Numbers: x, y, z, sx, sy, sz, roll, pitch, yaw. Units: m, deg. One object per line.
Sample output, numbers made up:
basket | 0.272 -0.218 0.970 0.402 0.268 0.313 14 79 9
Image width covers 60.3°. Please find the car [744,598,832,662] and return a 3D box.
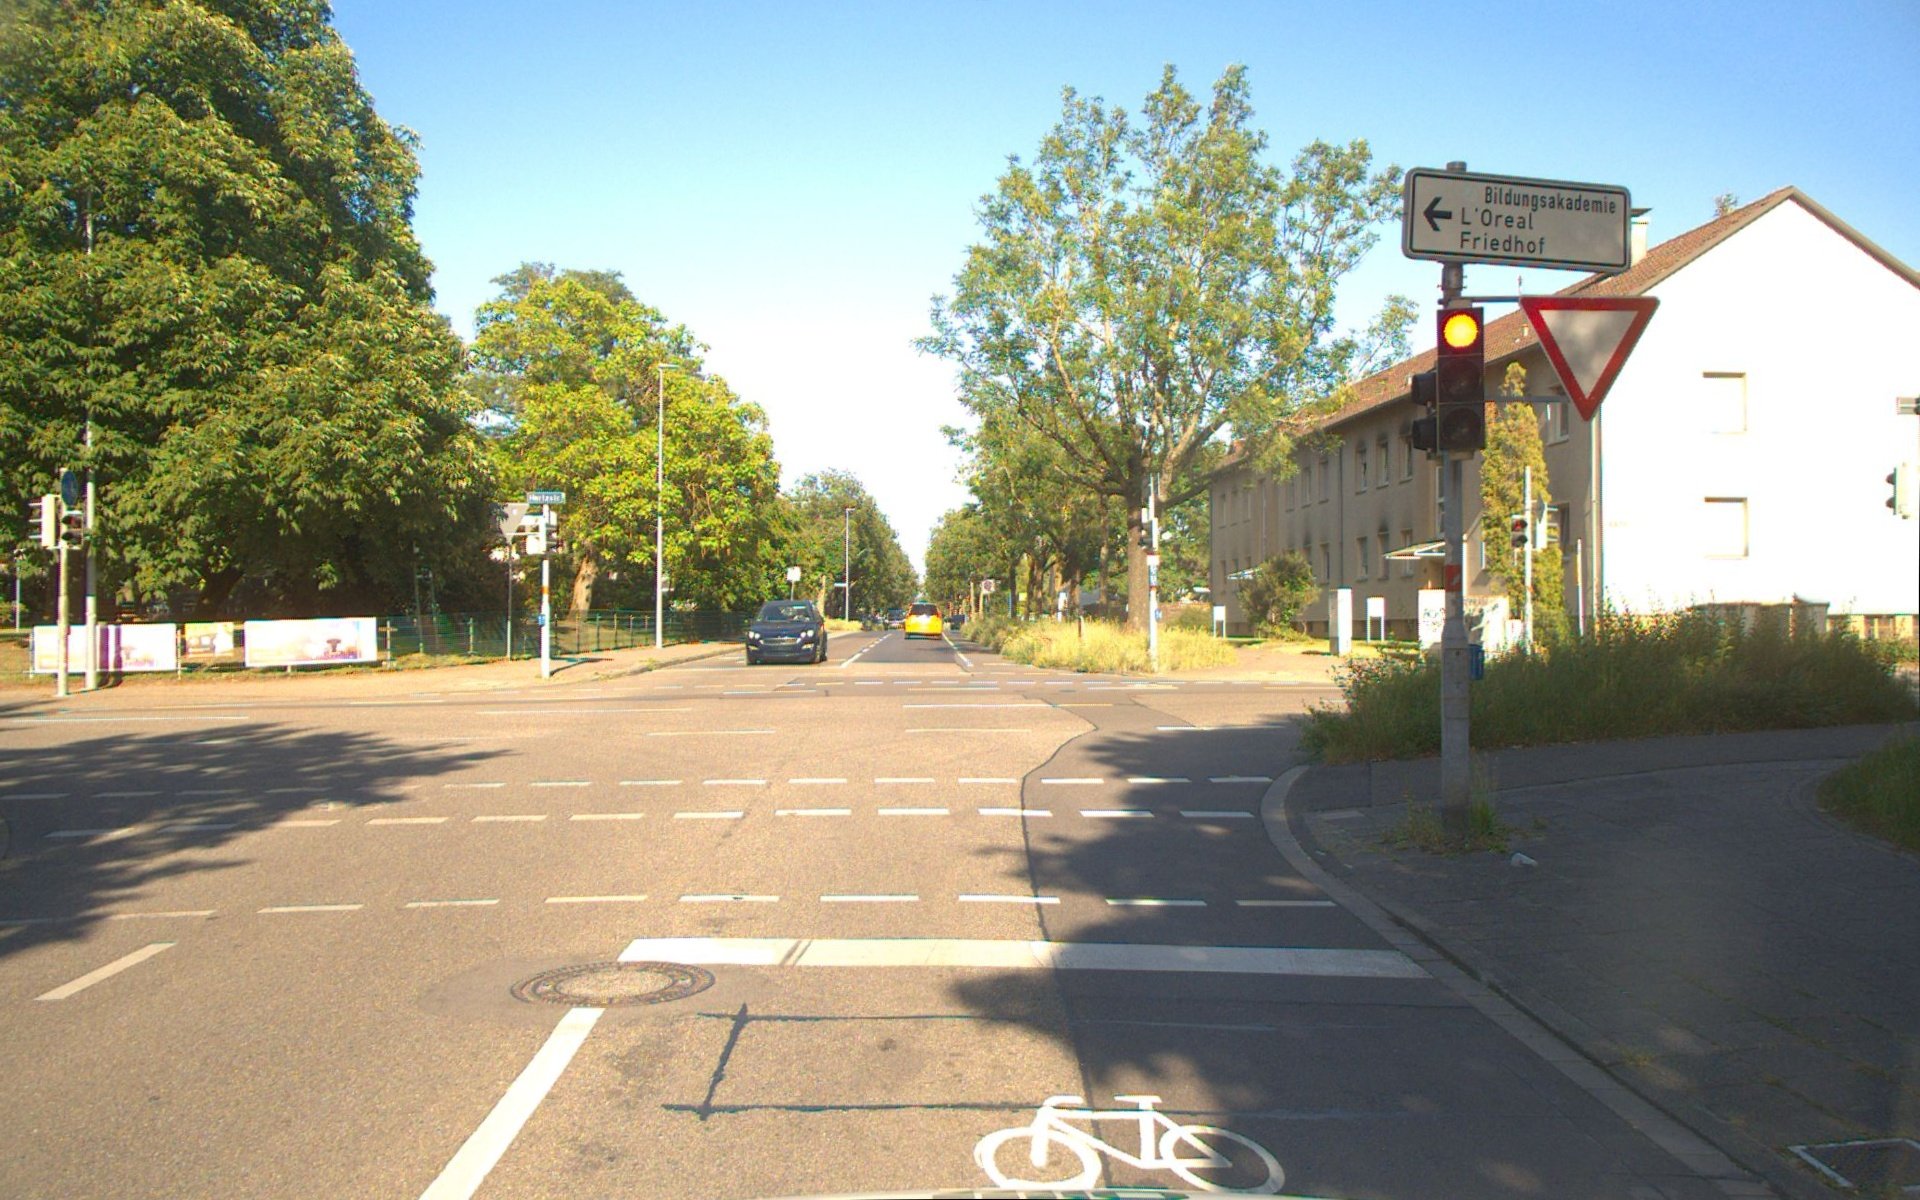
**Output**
car | -3.961 0.665 38.547 1.676 1.410 3.471 0 0 0

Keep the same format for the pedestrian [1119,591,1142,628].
pedestrian | 7.206 0.411 70.008 0.825 1.519 0.924 2 0 -1

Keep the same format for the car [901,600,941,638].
car | -1.706 0.848 73.268 1.716 1.610 3.999 1 0 -1

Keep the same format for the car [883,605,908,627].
car | -4.965 1.244 127.635 1.722 1.653 3.268 0 0 0
